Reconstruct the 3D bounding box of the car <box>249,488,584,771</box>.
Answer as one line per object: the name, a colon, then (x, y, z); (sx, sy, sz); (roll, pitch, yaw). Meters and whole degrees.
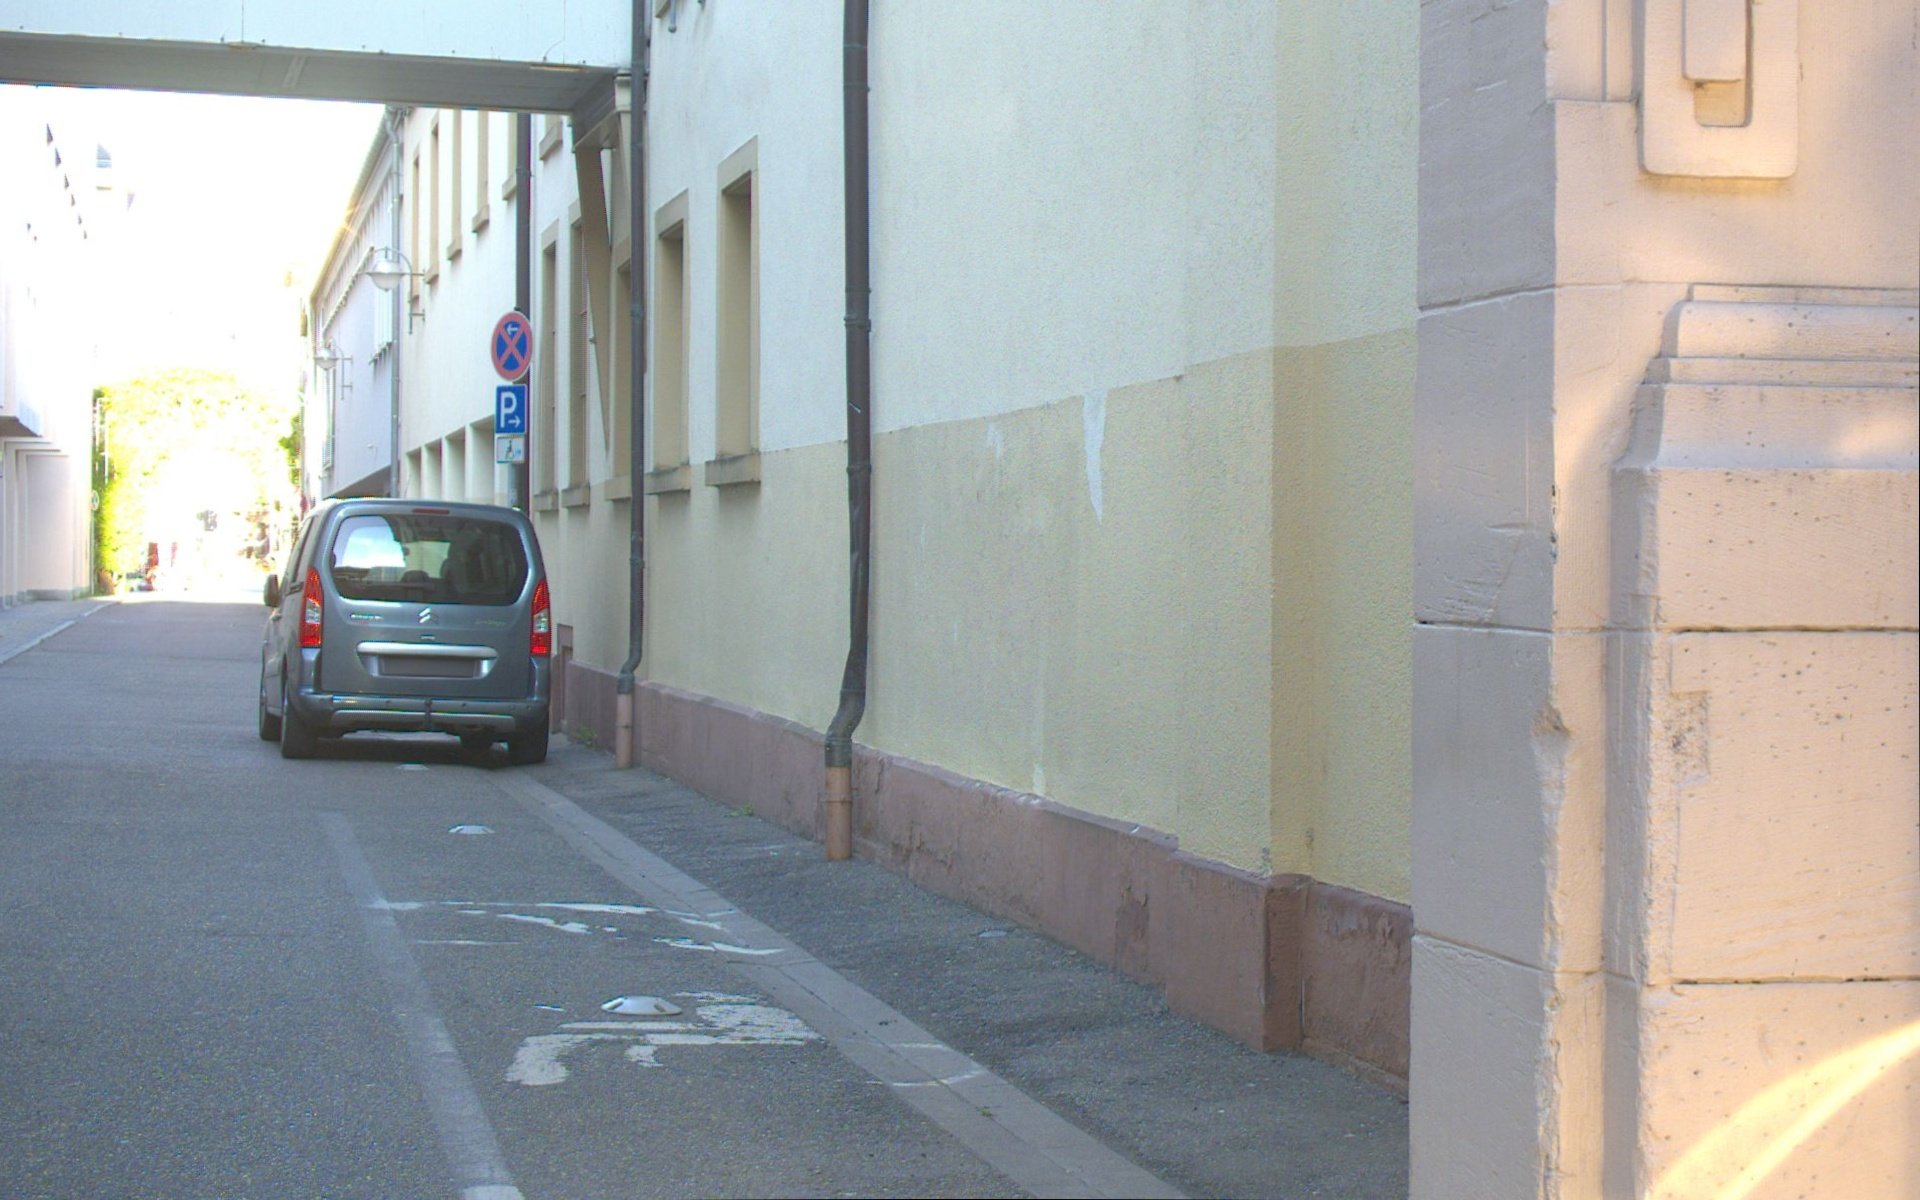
car: (-3.979, 0.171, 24.609); (1.854, 1.750, 4.163); (4, 0, -15)
